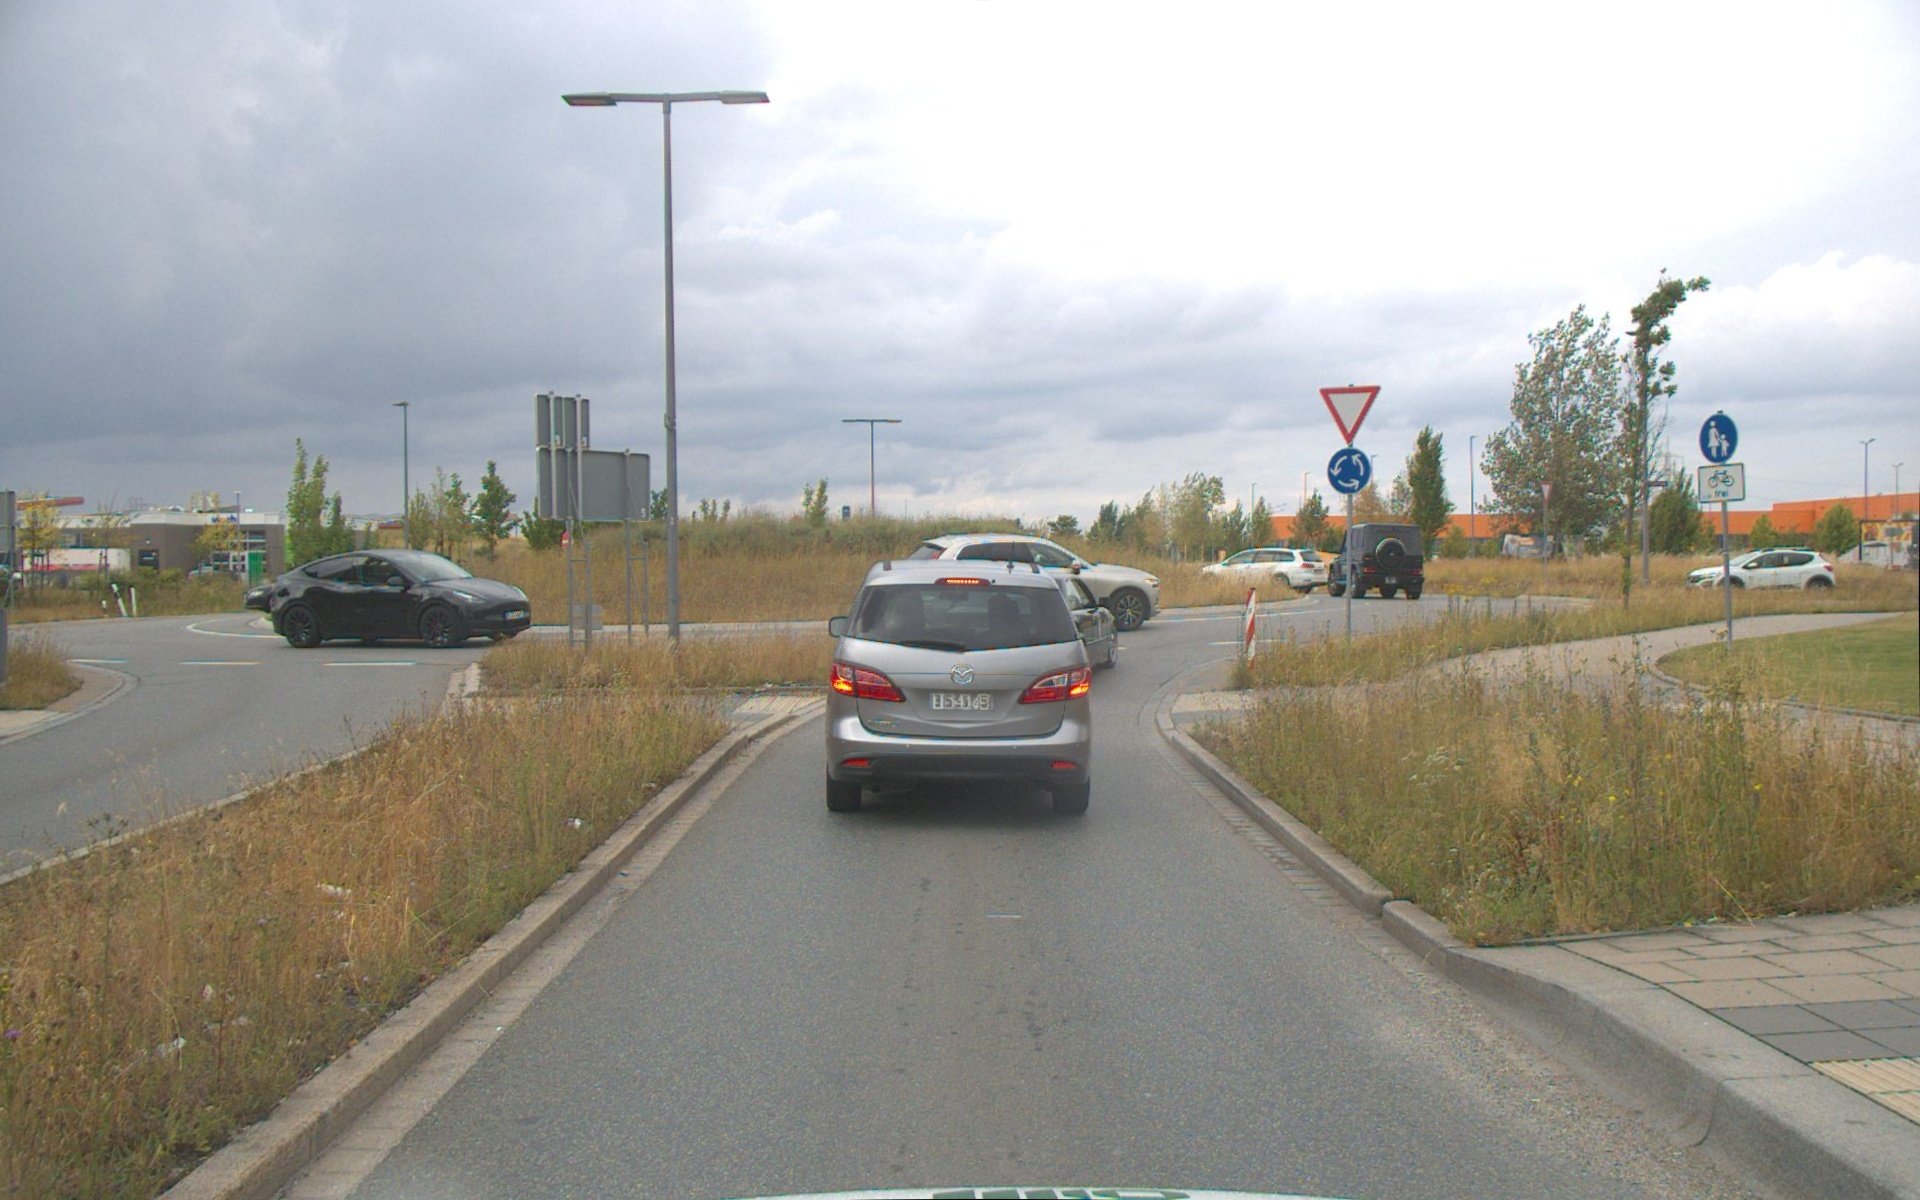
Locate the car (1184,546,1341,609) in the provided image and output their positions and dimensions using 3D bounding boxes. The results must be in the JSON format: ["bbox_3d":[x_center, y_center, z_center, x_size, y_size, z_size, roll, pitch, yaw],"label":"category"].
[{"bbox_3d":[9.918,-0.752,54.396,4.685,1.919,2.075,1,4,39],"label":"car"}]

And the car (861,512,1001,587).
[{"bbox_3d":[-1.051,-1.856,60.367,4.657,2.588,2.087,-1,3,14],"label":"car"}]

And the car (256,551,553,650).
[{"bbox_3d":[-9.537,-0.007,28.421,4.661,1.524,1.945,0,3,22],"label":"car"}]

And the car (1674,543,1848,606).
[{"bbox_3d":[23.641,-0.778,48.929,4.236,1.676,1.871,-1,3,2],"label":"car"}]

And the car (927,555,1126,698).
[{"bbox_3d":[0.927,0.242,20.551,1.701,1.427,4.002,1,4,14],"label":"car"}]

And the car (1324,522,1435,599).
[{"bbox_3d":[11.477,-1.144,45.583,2.034,1.919,4.778,-1,3,3],"label":"car"}]

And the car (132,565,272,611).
[{"bbox_3d":[-23.286,-0.387,50.833,3.794,1.348,1.456,-1,1,-30],"label":"car"}]

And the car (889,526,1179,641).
[{"bbox_3d":[1.275,-0.349,28.891,4.683,1.768,1.936,-2,3,-17],"label":"car"}]

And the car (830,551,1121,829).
[{"bbox_3d":[0.045,0.478,11.834,1.703,1.626,3.997,1,2,-1],"label":"car"}]
